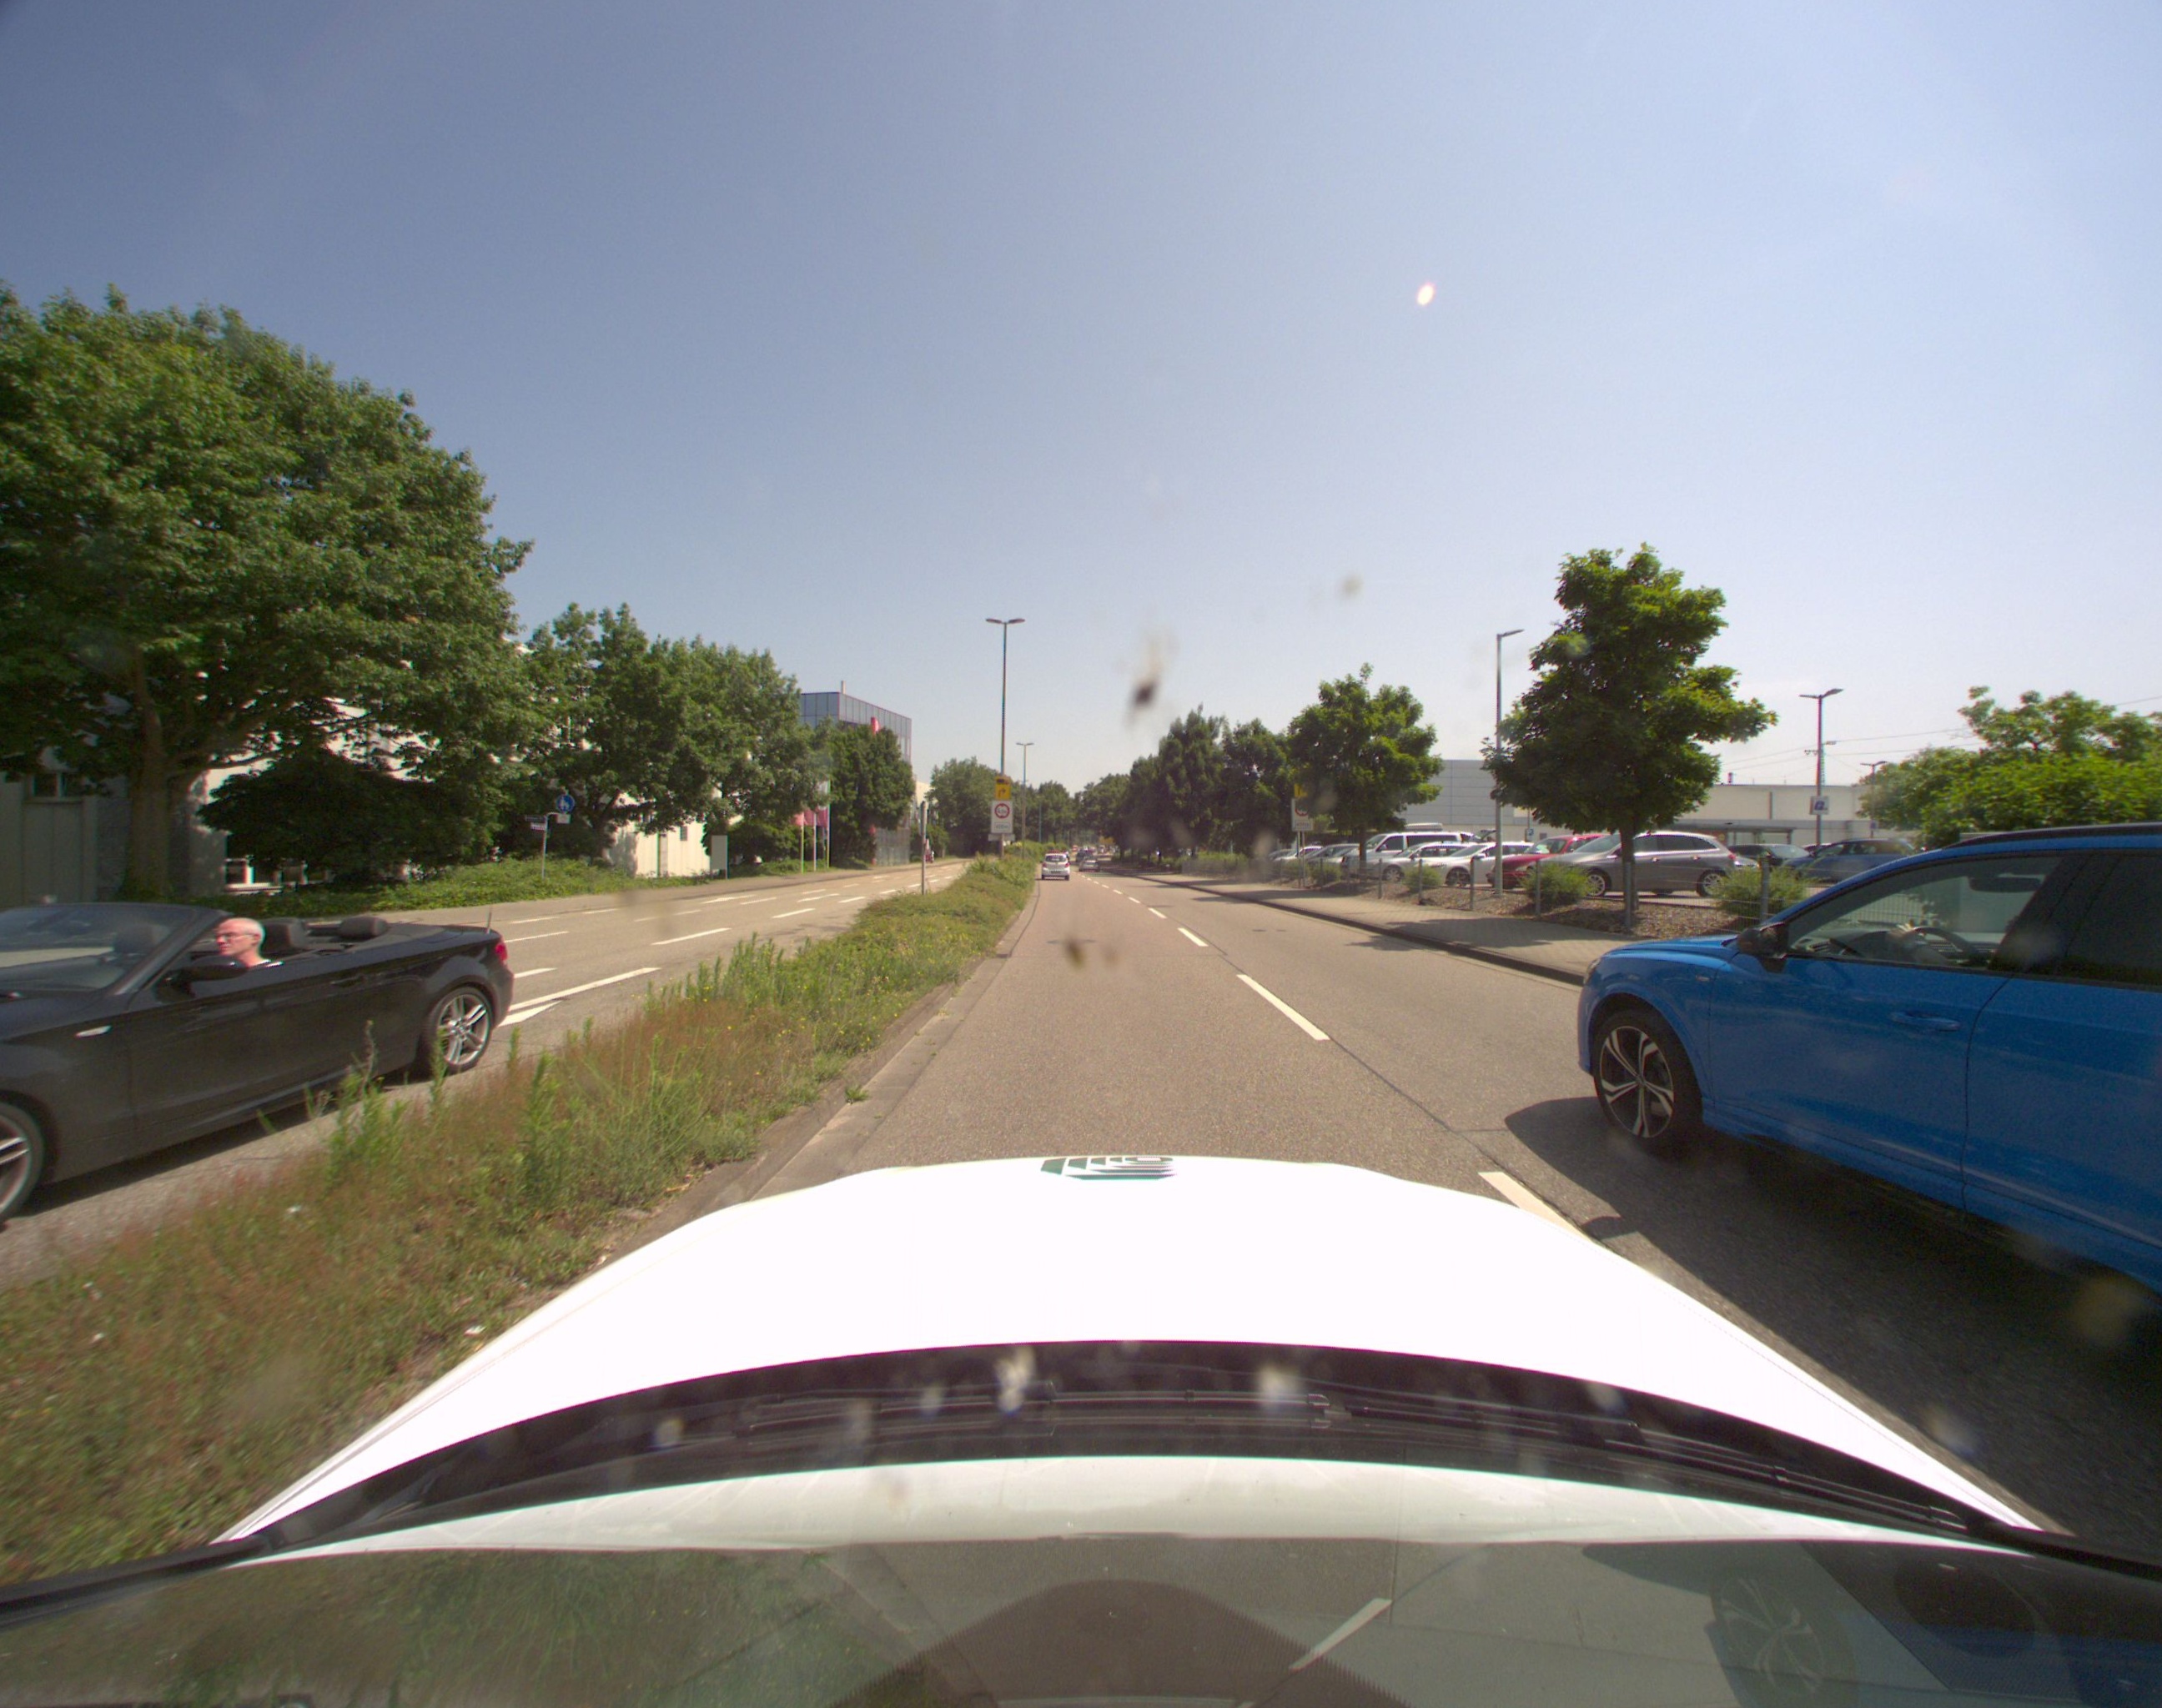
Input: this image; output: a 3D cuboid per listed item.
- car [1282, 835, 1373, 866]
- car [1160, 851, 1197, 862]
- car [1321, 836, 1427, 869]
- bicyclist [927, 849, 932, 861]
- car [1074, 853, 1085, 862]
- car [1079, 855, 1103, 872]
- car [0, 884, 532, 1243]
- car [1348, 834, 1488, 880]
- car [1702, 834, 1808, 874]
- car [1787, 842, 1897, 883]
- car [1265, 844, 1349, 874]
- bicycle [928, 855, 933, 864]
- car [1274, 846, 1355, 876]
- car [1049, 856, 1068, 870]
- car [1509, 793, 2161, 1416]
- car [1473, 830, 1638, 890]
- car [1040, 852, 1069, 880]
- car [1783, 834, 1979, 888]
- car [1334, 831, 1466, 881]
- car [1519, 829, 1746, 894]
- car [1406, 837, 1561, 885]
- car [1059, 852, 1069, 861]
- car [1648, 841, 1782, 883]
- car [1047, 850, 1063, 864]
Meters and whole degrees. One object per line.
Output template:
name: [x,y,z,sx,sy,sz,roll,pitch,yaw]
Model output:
car: [12.276,-0.156,40.706,3.976,1.534,1.825,0,-1,-2]
car: [12.437,0.300,104.177,1.962,1.352,4.662,-1,0,-38]
car: [12.590,-0.072,35.150,3.976,1.389,1.826,0,0,-2]
bicyclist: [-18.451,0.097,99.302,0.544,1.509,0.343,-2,-1,-3]
car: [-0.221,0.507,116.563,1.438,1.348,3.456,-1,0,-3]
car: [0.883,0.866,74.572,1.862,1.473,3.994,2,0,-5]
car: [-5.248,0.911,4.493,1.725,1.323,4.146,-1,0,-2]
car: [12.188,0.095,29.627,4.352,1.593,1.827,0,0,0]
car: [25.707,-0.004,31.200,1.262,1.420,3.249,-1,0,-3]
car: [28.336,0.292,30.423,1.262,1.420,2.955,-1,0,-3]
car: [12.058,0.290,43.629,3.983,1.534,1.822,0,-1,-7]
bicycle: [-18.346,0.649,99.310,0.345,1.067,0.922,-2,0,-2]
car: [13.142,0.395,45.957,3.981,1.596,1.823,1,0,-6]
car: [-2.380,0.930,86.628,1.881,1.354,3.995,2,0,-3]
car: [3.653,0.628,3.056,1.803,1.593,4.349,-1,0,0]
car: [12.807,0.158,22.105,3.585,1.537,1.720,0,0,-6]
car: [-1.525,0.678,47.964,1.634,1.552,3.323,1,0,-1]
car: [23.178,0.191,23.828,1.724,1.420,3.996,-1,0,-3]
car: [12.664,0.077,32.494,4.604,1.924,1.826,0,0,-2]
car: [12.733,0.167,18.978,4.156,1.421,1.698,0,0,0]
car: [12.347,0.215,25.130,3.986,1.421,1.696,0,0,-2]
car: [-2.608,0.394,127.295,1.484,1.392,3.304,2,0,-3]
car: [23.249,0.268,30.065,1.724,1.420,3.996,-1,0,-3]
car: [-3.270,0.352,102.715,1.880,1.608,3.996,-1,0,-3]
